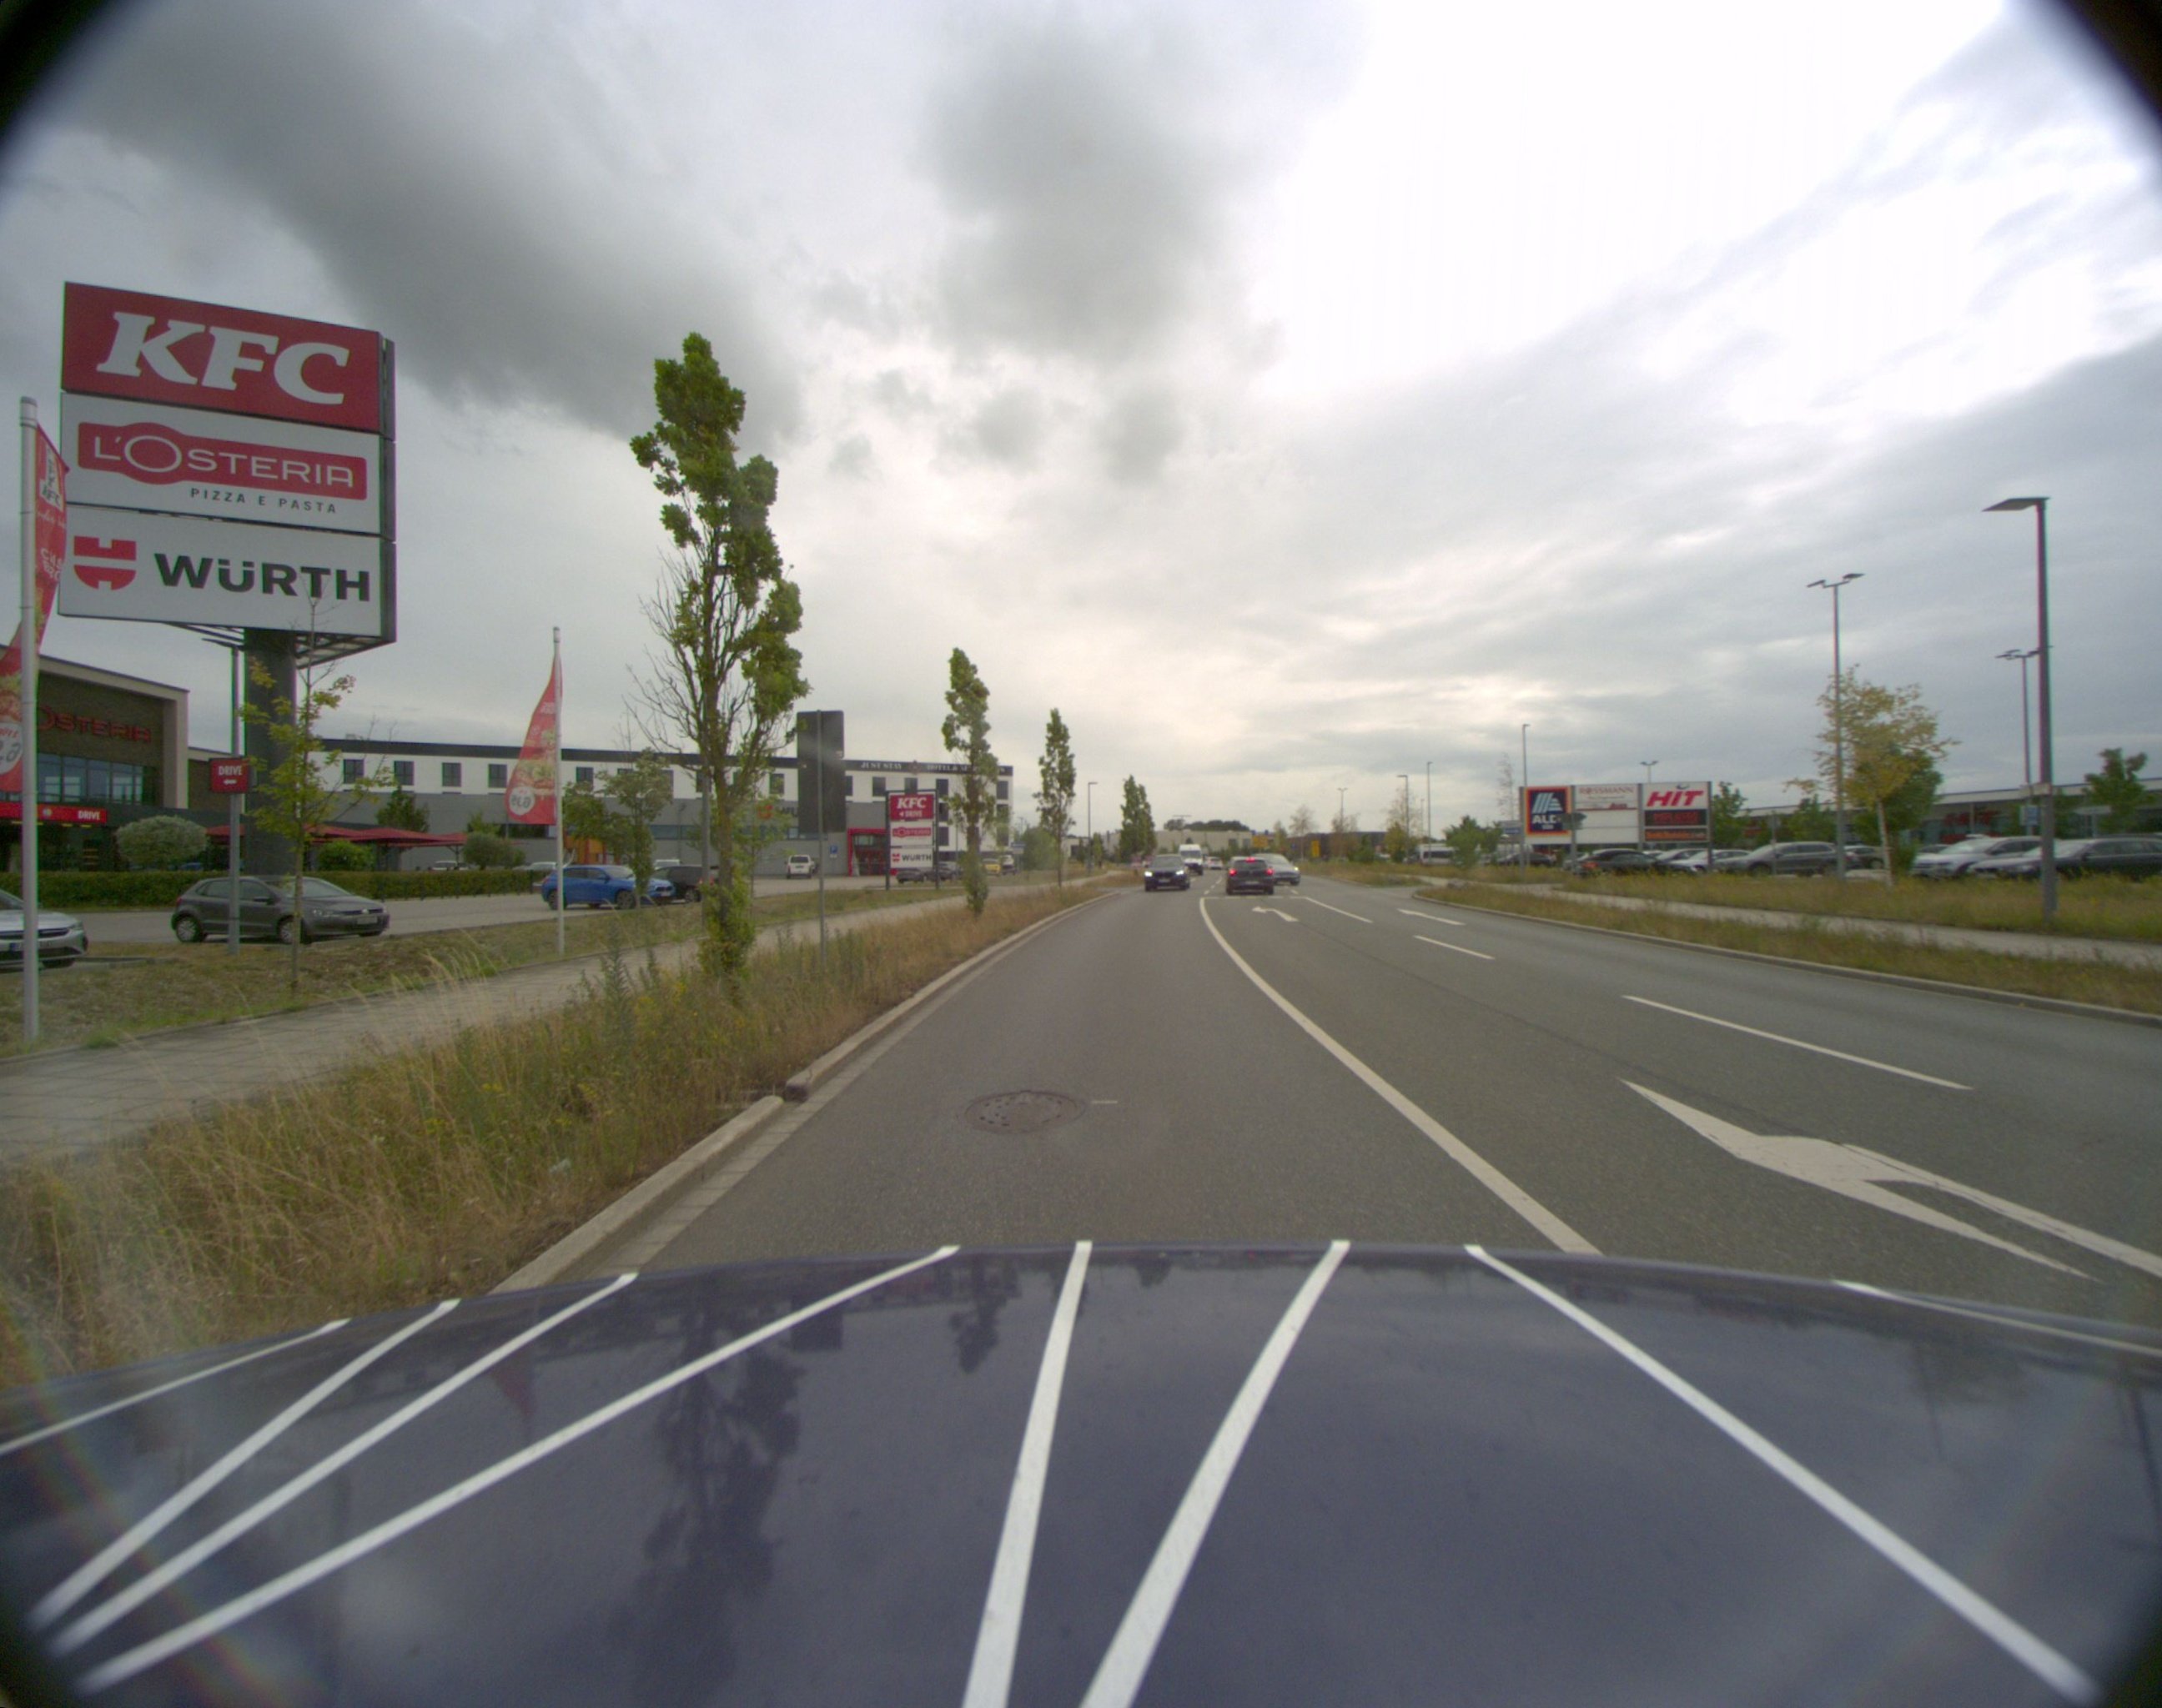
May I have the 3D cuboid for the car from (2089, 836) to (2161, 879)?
[{"bbox_3d":[46.235,0.147,32.046,2.000,1.805,3.997,-1,0,-7],"label":"car"}]

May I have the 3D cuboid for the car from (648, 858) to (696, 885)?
[{"bbox_3d":[-27.084,1.113,50.439,2.002,1.687,4.785,-1,0,-19],"label":"car"}]

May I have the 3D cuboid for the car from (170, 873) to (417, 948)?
[{"bbox_3d":[-17.326,1.213,16.822,3.765,1.485,1.891,-1,0,7],"label":"car"}]

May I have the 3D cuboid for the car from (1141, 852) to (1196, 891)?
[{"bbox_3d":[4.111,0.789,35.317,1.996,1.654,4.004,-2,0,14],"label":"car"}]

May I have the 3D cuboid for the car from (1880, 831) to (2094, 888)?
[{"bbox_3d":[29.287,0.181,24.697,4.251,1.713,2.029,-1,0,6],"label":"car"}]

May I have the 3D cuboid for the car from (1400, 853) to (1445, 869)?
[{"bbox_3d":[36.609,0.734,81.570,3.952,1.624,2.086,-1,0,3],"label":"car"}]

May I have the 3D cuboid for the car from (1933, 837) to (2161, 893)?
[{"bbox_3d":[28.306,0.315,22.150,4.249,1.504,2.048,-1,0,11],"label":"car"}]

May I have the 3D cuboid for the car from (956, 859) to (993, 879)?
[{"bbox_3d":[-8.703,1.192,62.692,1.998,1.488,4.609,-1,1,5],"label":"car"}]

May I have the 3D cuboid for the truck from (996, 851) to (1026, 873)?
[{"bbox_3d":[-7.865,0.936,85.903,2.232,2.312,8.216,-1,-1,2],"label":"truck"}]

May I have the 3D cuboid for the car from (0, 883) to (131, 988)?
[{"bbox_3d":[-18.059,1.247,12.060,3.869,1.473,1.903,1,0,5],"label":"car"}]

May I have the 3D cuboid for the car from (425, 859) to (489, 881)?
[{"bbox_3d":[-45.800,1.152,55.922,2.083,1.510,4.569,0,0,-18],"label":"car"}]

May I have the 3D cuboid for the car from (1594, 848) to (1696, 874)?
[{"bbox_3d":[32.784,0.401,44.301,4.326,1.448,2.012,-1,0,9],"label":"car"}]

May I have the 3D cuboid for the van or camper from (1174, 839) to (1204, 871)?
[{"bbox_3d":[9.047,0.113,64.049,2.263,2.601,5.700,-1,0,6],"label":"van or camper"}]

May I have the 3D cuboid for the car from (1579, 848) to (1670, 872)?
[{"bbox_3d":[33.316,0.367,46.728,4.091,1.383,2.002,-1,0,12],"label":"car"}]

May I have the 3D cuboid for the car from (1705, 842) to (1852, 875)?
[{"bbox_3d":[31.212,0.221,34.136,4.364,1.383,2.167,-1,0,12],"label":"car"}]

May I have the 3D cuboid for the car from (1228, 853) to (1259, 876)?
[{"bbox_3d":[10.914,0.691,51.225,1.883,1.460,4.196,-1,0,11],"label":"car"}]

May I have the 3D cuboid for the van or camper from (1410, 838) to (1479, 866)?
[{"bbox_3d":[36.701,-0.197,76.828,5.866,2.783,2.243,0,1,1],"label":"van or camper"}]

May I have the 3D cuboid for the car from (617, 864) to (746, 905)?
[{"bbox_3d":[-15.204,1.138,29.005,3.993,1.485,1.984,-1,0,12],"label":"car"}]

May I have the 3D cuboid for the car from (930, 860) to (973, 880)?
[{"bbox_3d":[-9.557,1.144,56.447,1.867,1.428,4.883,-1,-1,7],"label":"car"}]

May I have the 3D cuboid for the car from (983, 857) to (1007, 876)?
[{"bbox_3d":[-7.823,1.111,69.091,1.767,1.676,4.411,-1,-1,-1],"label":"car"}]

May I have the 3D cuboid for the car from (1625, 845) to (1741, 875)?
[{"bbox_3d":[32.345,0.328,40.991,4.372,1.496,2.242,-1,0,11],"label":"car"}]

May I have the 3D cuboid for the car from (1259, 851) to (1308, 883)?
[{"bbox_3d":[10.532,0.656,39.768,1.997,1.552,4.616,-1,0,9],"label":"car"}]

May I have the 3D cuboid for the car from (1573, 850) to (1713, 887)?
[{"bbox_3d":[22.782,0.596,30.976,4.223,1.429,1.776,-1,1,13],"label":"car"}]

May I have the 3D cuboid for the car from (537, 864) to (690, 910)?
[{"bbox_3d":[-16.277,1.130,26.564,4.270,1.511,1.967,-1,0,9],"label":"car"}]

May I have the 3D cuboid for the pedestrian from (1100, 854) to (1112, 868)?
[{"bbox_3d":[3.321,0.982,101.567,1.071,1.847,1.197,1,2,33],"label":"pedestrian"}]

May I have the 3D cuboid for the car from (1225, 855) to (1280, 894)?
[{"bbox_3d":[6.684,0.773,29.977,1.833,1.411,4.249,-1,0,9],"label":"car"}]

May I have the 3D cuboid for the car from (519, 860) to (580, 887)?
[{"bbox_3d":[-33.730,1.223,48.355,1.987,1.619,4.321,-1,0,-18],"label":"car"}]

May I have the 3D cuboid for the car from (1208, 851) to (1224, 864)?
[{"bbox_3d":[17.127,0.426,96.475,1.997,1.627,4.706,1,0,10],"label":"car"}]

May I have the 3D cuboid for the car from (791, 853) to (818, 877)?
[{"bbox_3d":[-23.289,0.910,63.835,2.002,1.975,4.628,-1,0,-21],"label":"car"}]

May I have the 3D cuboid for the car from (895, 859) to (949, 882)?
[{"bbox_3d":[-10.577,1.089,50.881,1.965,1.451,4.836,-1,-1,9],"label":"car"}]

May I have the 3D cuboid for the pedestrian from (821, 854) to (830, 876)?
[{"bbox_3d":[-21.701,0.954,64.536,0.615,1.857,0.800,-1,0,-25],"label":"pedestrian"}]

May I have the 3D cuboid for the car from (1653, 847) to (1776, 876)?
[{"bbox_3d":[31.684,0.384,38.111,4.321,1.332,2.028,-1,0,7],"label":"car"}]

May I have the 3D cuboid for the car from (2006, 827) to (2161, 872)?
[{"bbox_3d":[42.940,-0.180,32.041,2.000,1.736,4.580,-1,0,-10],"label":"car"}]
